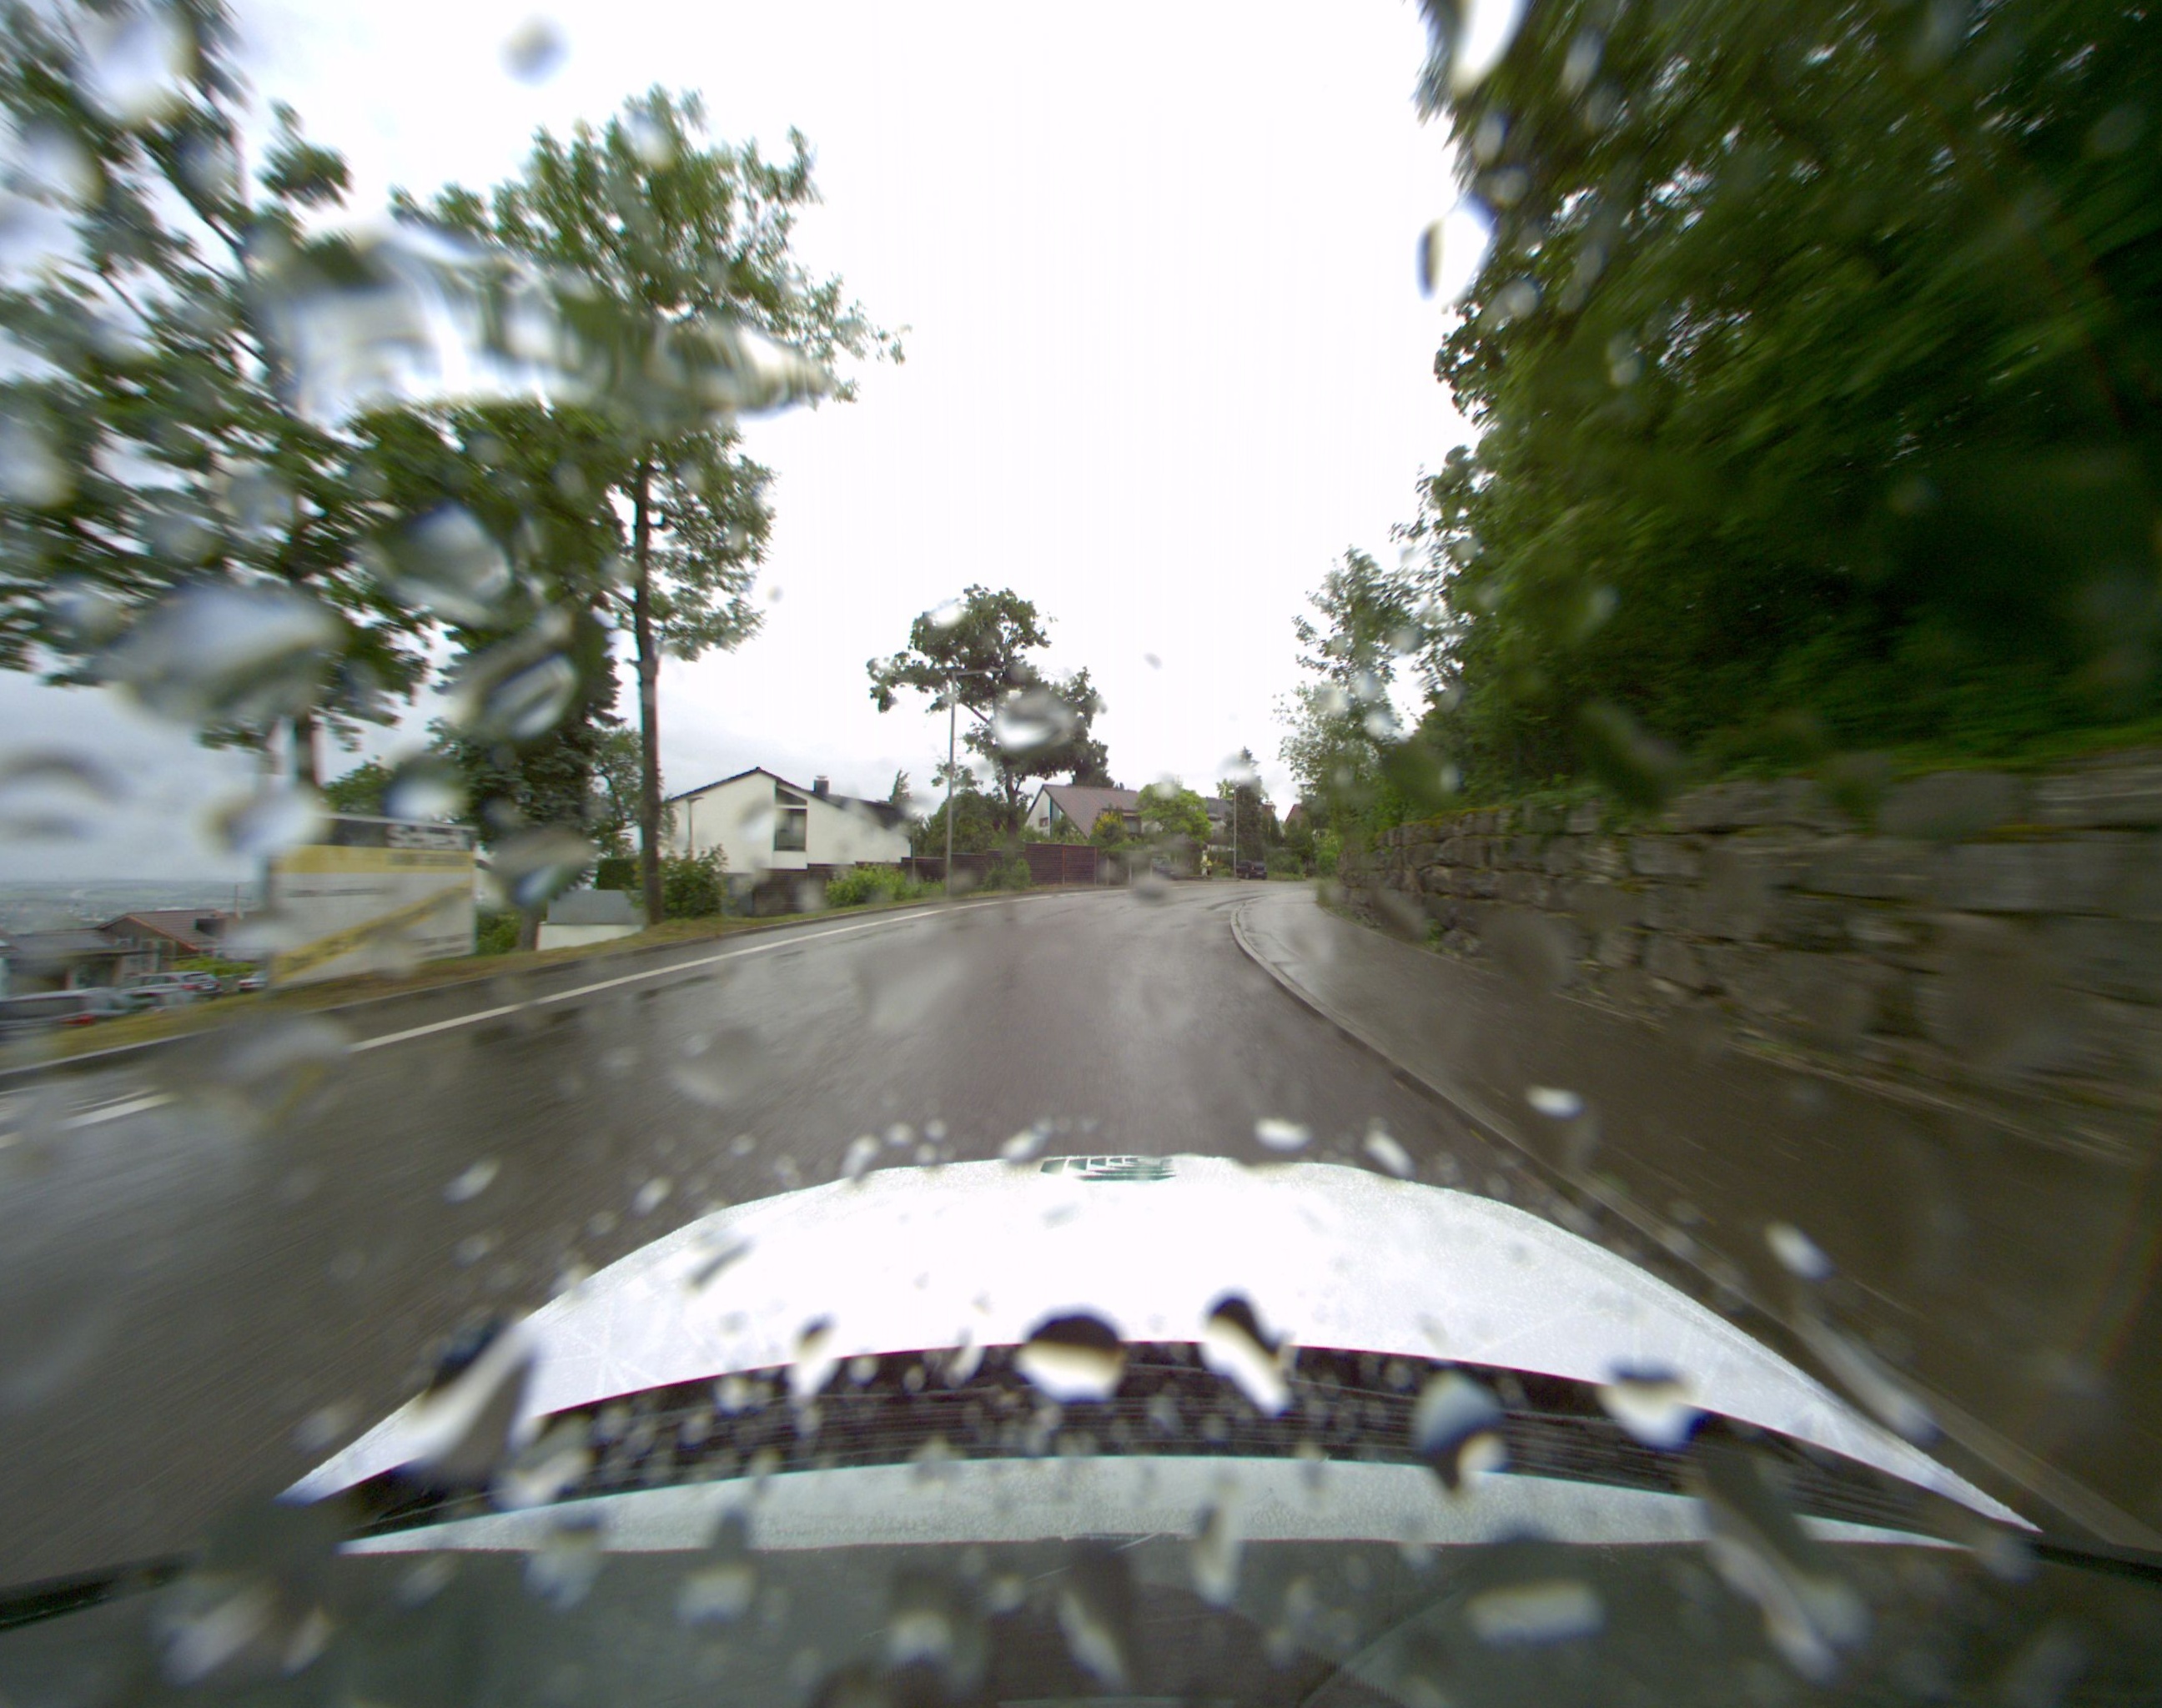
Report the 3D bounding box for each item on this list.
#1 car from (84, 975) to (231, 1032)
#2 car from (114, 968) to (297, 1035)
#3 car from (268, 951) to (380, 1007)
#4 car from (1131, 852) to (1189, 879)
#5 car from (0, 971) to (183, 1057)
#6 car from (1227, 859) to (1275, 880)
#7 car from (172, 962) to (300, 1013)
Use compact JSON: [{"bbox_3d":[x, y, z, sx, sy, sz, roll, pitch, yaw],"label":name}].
[{"bbox_3d":[-40.733,6.576,36.006,3.983,1.637,1.800,-7,1,-6],"label":"car"},{"bbox_3d":[-23.603,3.923,22.213,2.170,1.351,4.237,-2,-6,-29],"label":"car"},{"bbox_3d":[-32.831,5.368,35.481,1.998,2.014,3.976,-3,-4,-17],"label":"car"},{"bbox_3d":[5.359,0.756,55.850,2.020,1.631,3.963,3,0,-30],"label":"car"},{"bbox_3d":[-21.850,3.418,17.744,1.890,1.416,3.961,-2,-4,-29],"label":"car"},{"bbox_3d":[13.002,1.160,62.628,1.938,1.389,3.978,3,0,-16],"label":"car"},{"bbox_3d":[-41.382,6.518,39.967,3.983,1.637,1.800,-7,1,-6],"label":"car"}]
